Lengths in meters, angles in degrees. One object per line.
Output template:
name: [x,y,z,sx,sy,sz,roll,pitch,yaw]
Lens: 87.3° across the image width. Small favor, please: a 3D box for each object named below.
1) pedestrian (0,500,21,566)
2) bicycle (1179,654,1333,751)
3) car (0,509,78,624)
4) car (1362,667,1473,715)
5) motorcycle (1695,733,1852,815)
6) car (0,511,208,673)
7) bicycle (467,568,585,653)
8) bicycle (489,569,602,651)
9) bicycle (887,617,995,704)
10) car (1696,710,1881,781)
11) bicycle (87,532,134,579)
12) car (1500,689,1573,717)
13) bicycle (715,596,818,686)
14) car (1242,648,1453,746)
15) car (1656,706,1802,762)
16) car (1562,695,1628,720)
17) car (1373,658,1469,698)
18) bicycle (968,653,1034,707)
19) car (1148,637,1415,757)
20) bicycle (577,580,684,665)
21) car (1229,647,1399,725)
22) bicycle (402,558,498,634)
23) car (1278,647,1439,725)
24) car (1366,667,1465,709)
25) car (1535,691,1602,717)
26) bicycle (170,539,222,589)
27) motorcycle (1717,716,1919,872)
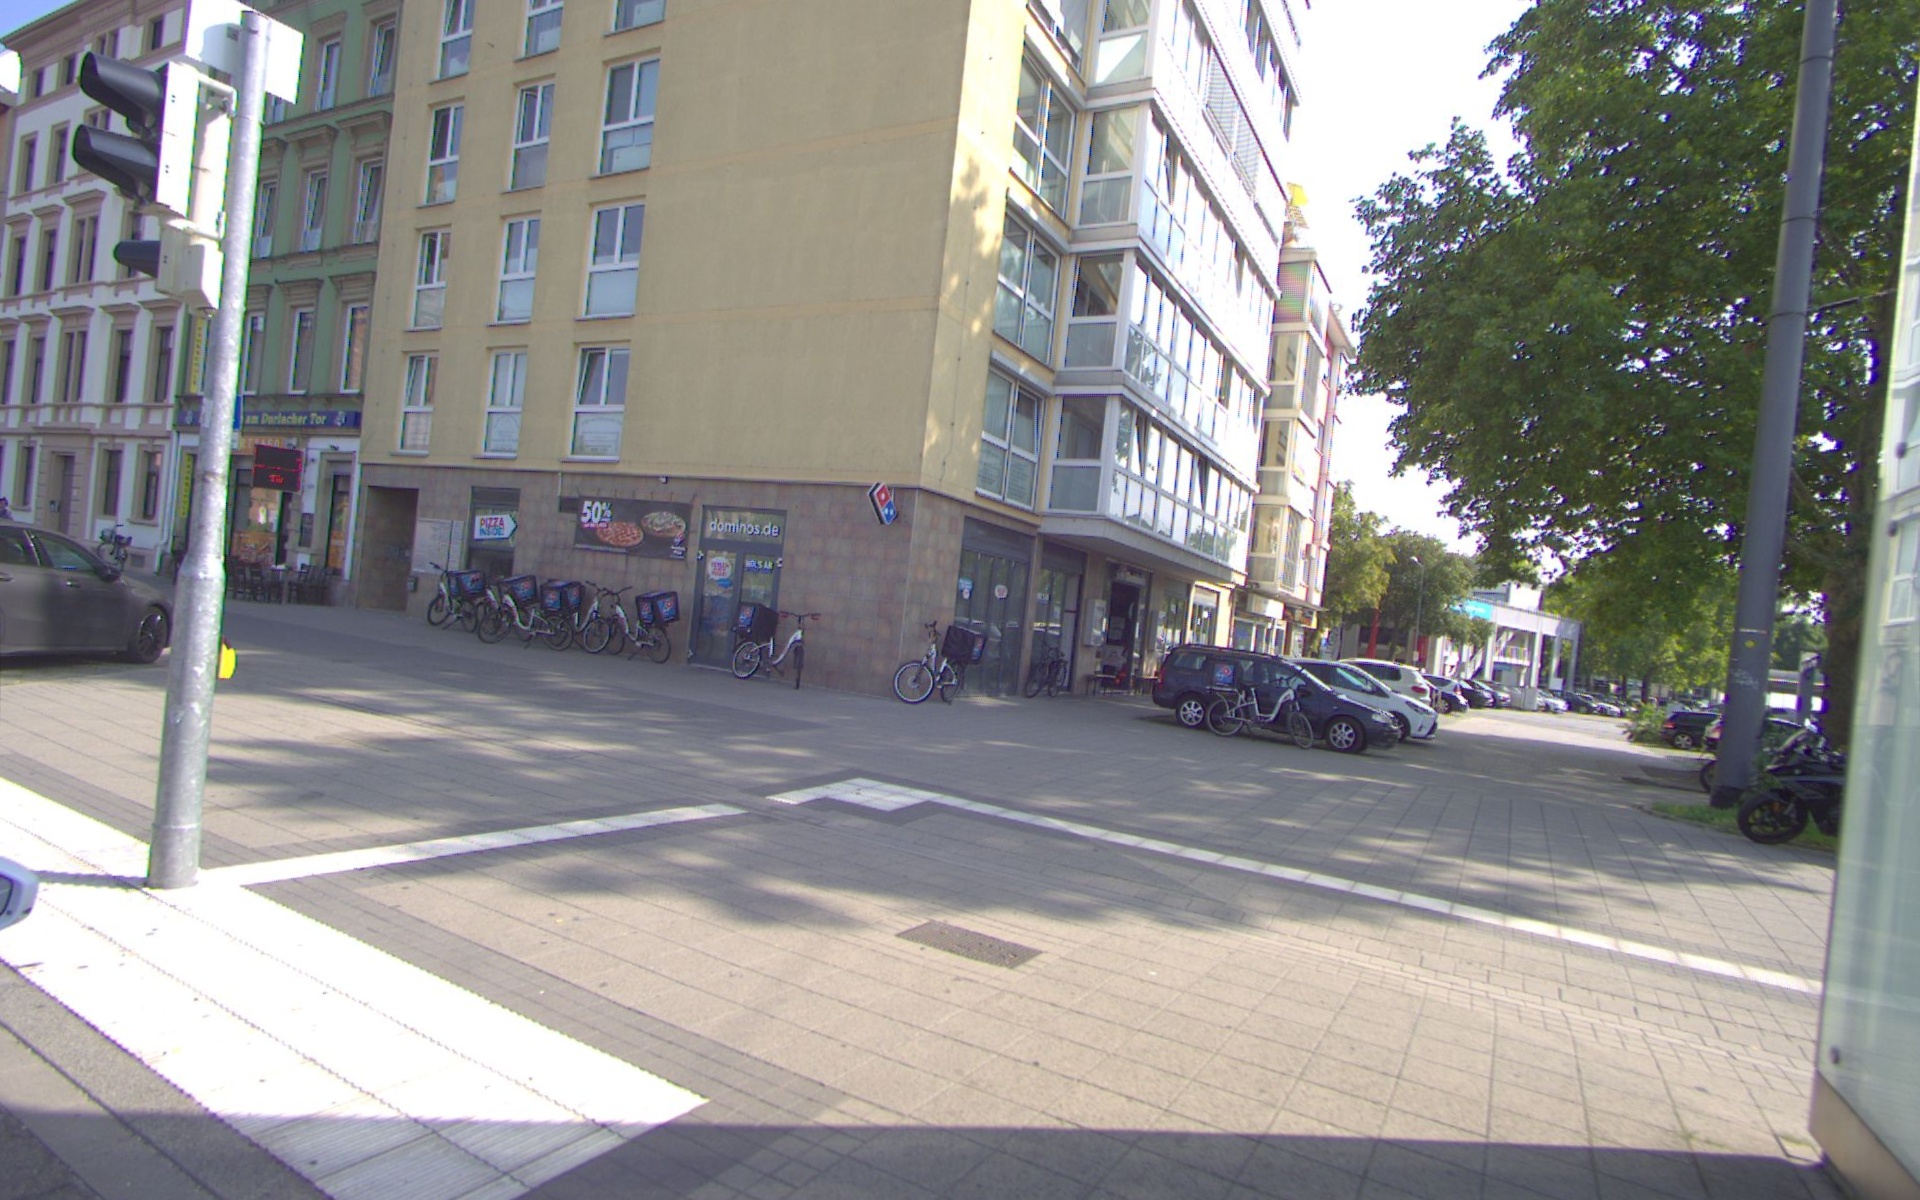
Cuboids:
pedestrian: [-24.944,-1.764,26.058,0.725,1.649,0.609,6,1,30]
bicycle: [4.822,1.641,16.453,2.260,1.250,0.524,6,1,26]
car: [-13.009,-0.517,12.378,1.596,1.481,3.522,6,-1,-12]
car: [18.849,3.723,41.454,3.932,1.393,1.997,6,0,29]
motorcycle: [13.874,2.936,17.200,0.701,1.014,1.932,6,0,-44]
car: [-9.628,-0.163,9.838,1.817,1.440,4.401,6,-1,-12]
bicycle: [-7.669,0.178,17.756,1.961,1.277,0.604,6,0,22]
bicycle: [-7.649,0.183,18.543,1.961,1.277,0.604,6,0,22]
bicycle: [-0.258,0.961,15.874,0.659,1.221,2.019,7,0,30]
car: [25.037,4.366,30.607,3.932,1.393,1.997,6,0,29]
bicycle: [-23.440,-1.228,27.739,1.690,1.148,0.384,6,0,30]
car: [40.014,7.157,69.884,1.731,1.393,3.952,7,-1,-42]
bicycle: [-3.158,0.656,16.360,1.609,1.277,0.469,6,1,29]
car: [8.516,2.072,22.144,3.933,1.526,1.996,6,0,31]
car: [28.503,4.934,37.439,3.932,1.393,1.997,6,0,29]
car: [49.650,8.398,78.684,1.731,1.393,3.952,7,-1,-42]
car: [22.115,3.703,48.273,3.932,1.393,1.740,6,0,29]
bicycle: [1.029,1.957,24.815,0.659,1.198,2.019,7,0,30]
car: [5.641,1.645,17.793,4.124,1.459,1.659,6,0,31]
bicycle: [-5.767,0.386,17.559,1.817,1.277,0.603,6,0,29]
car: [9.598,2.285,27.327,3.933,1.526,1.996,6,0,31]
bicycle: [-10.042,-0.087,19.774,1.963,1.277,0.603,6,0,30]
car: [11.482,2.427,29.023,3.933,1.665,1.996,6,0,31]
car: [21.119,4.041,46.644,3.932,1.393,1.740,6,0,29]
car: [46.487,7.916,76.886,1.731,1.393,3.952,7,-1,-42]
bicycle: [-19.661,-0.937,25.885,1.690,1.148,0.384,6,0,30]
motorcycle: [8.580,1.837,9.379,0.701,1.161,2.272,6,0,-44]
